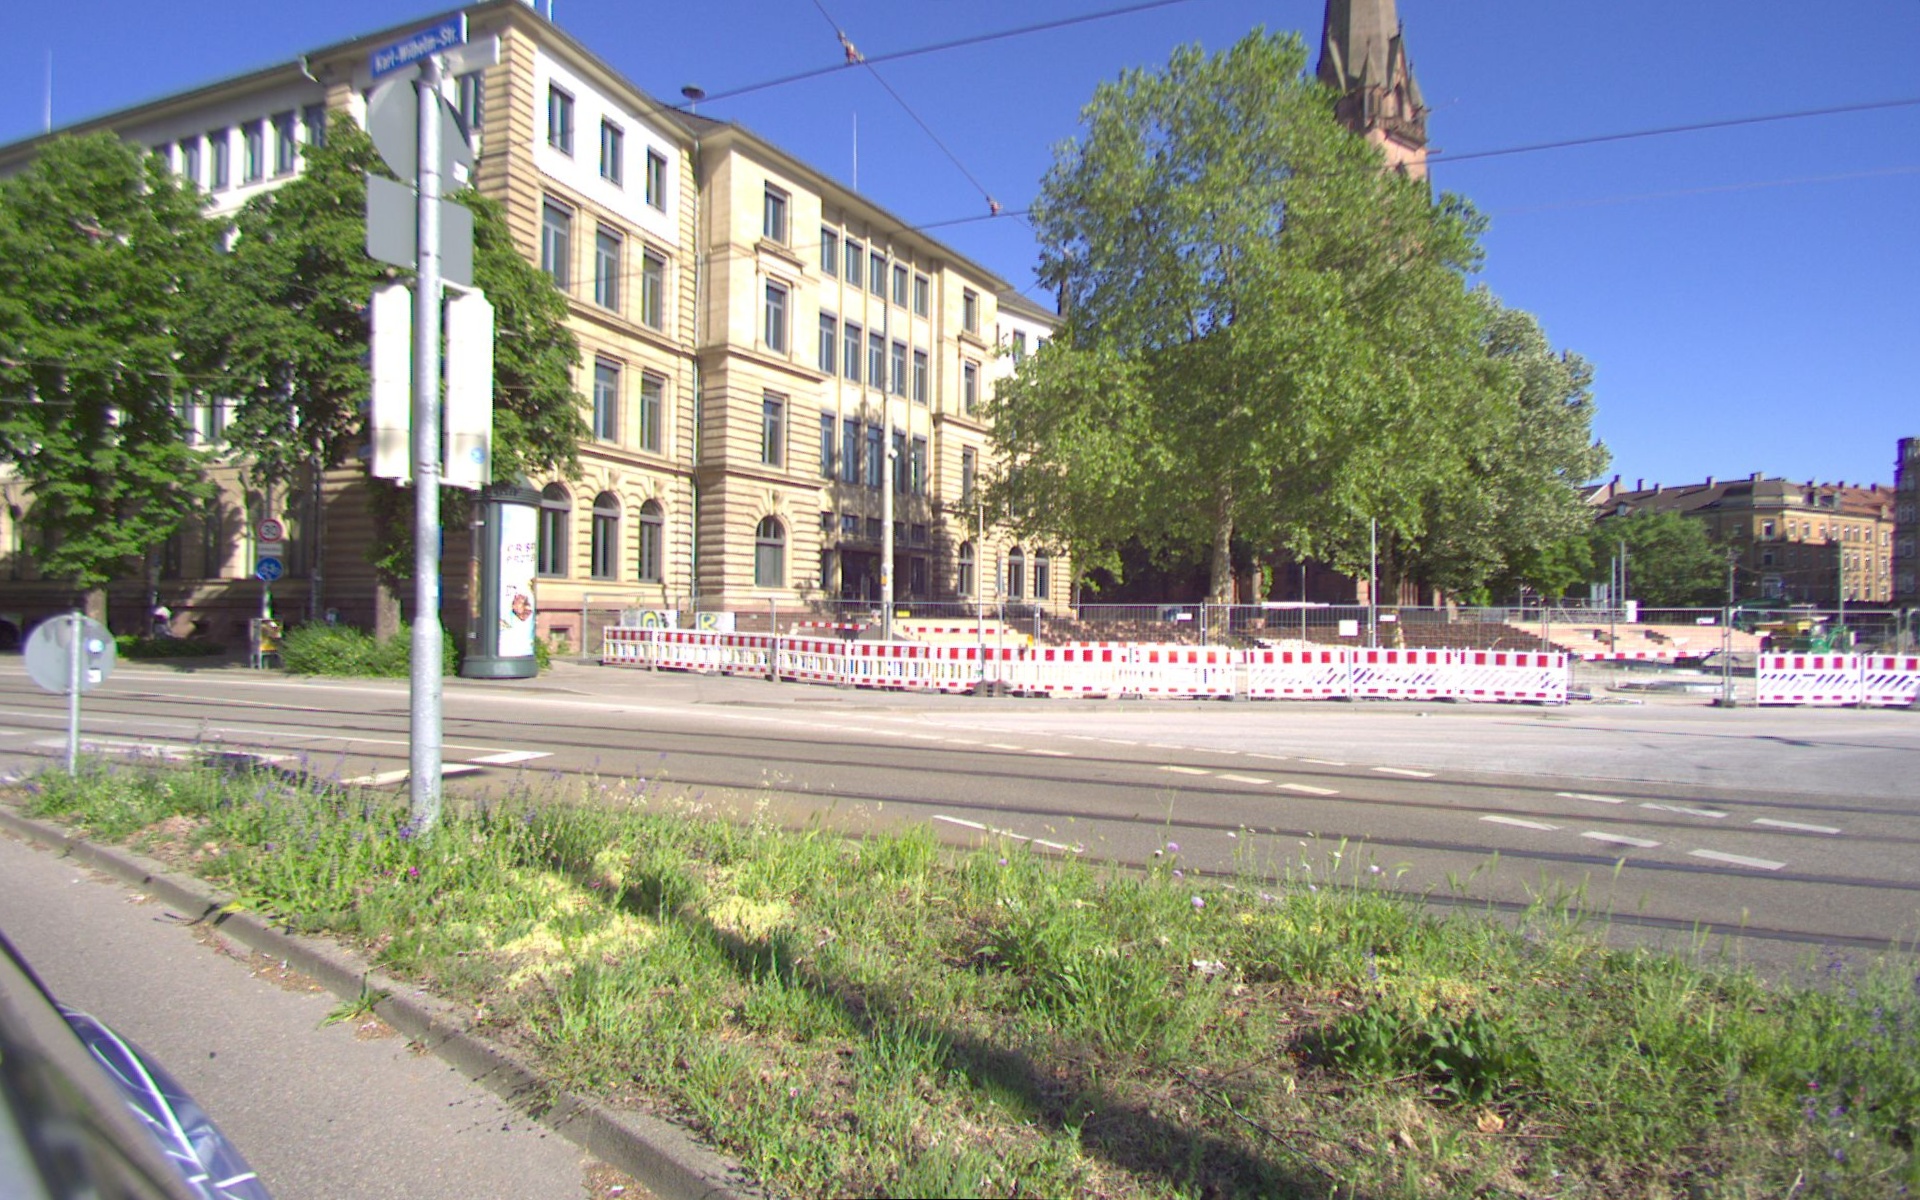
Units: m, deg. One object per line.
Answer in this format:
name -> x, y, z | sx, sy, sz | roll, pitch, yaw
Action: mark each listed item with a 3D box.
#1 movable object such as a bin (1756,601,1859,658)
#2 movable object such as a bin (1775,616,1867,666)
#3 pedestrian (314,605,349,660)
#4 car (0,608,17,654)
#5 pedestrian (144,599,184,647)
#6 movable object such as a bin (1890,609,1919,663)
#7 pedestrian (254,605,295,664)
movable object such as a bin -> 50.511, 1.689, 60.321 | 5.157, 3.197, 3.129 | 1, 0, -30
movable object such as a bin -> 42.872, 1.994, 50.409 | 4.156, 2.364, 1.900 | 1, 0, -25
pedestrian -> -18.194, 0.929, 29.301 | 0.650, 1.574, 0.574 | 0, -2, 23
car -> -34.250, 1.034, 33.792 | 1.892, 1.586, 4.115 | 1, -1, -5
pedestrian -> -27.302, 0.774, 34.718 | 0.851, 1.578, 0.669 | 0, 3, 18
movable object such as a bin -> 51.002, 1.887, 50.751 | 1.861, 2.780, 6.105 | 1, 0, -27
pedestrian -> -20.140, 1.003, 29.723 | 0.845, 1.682, 0.720 | 2, 0, 40
